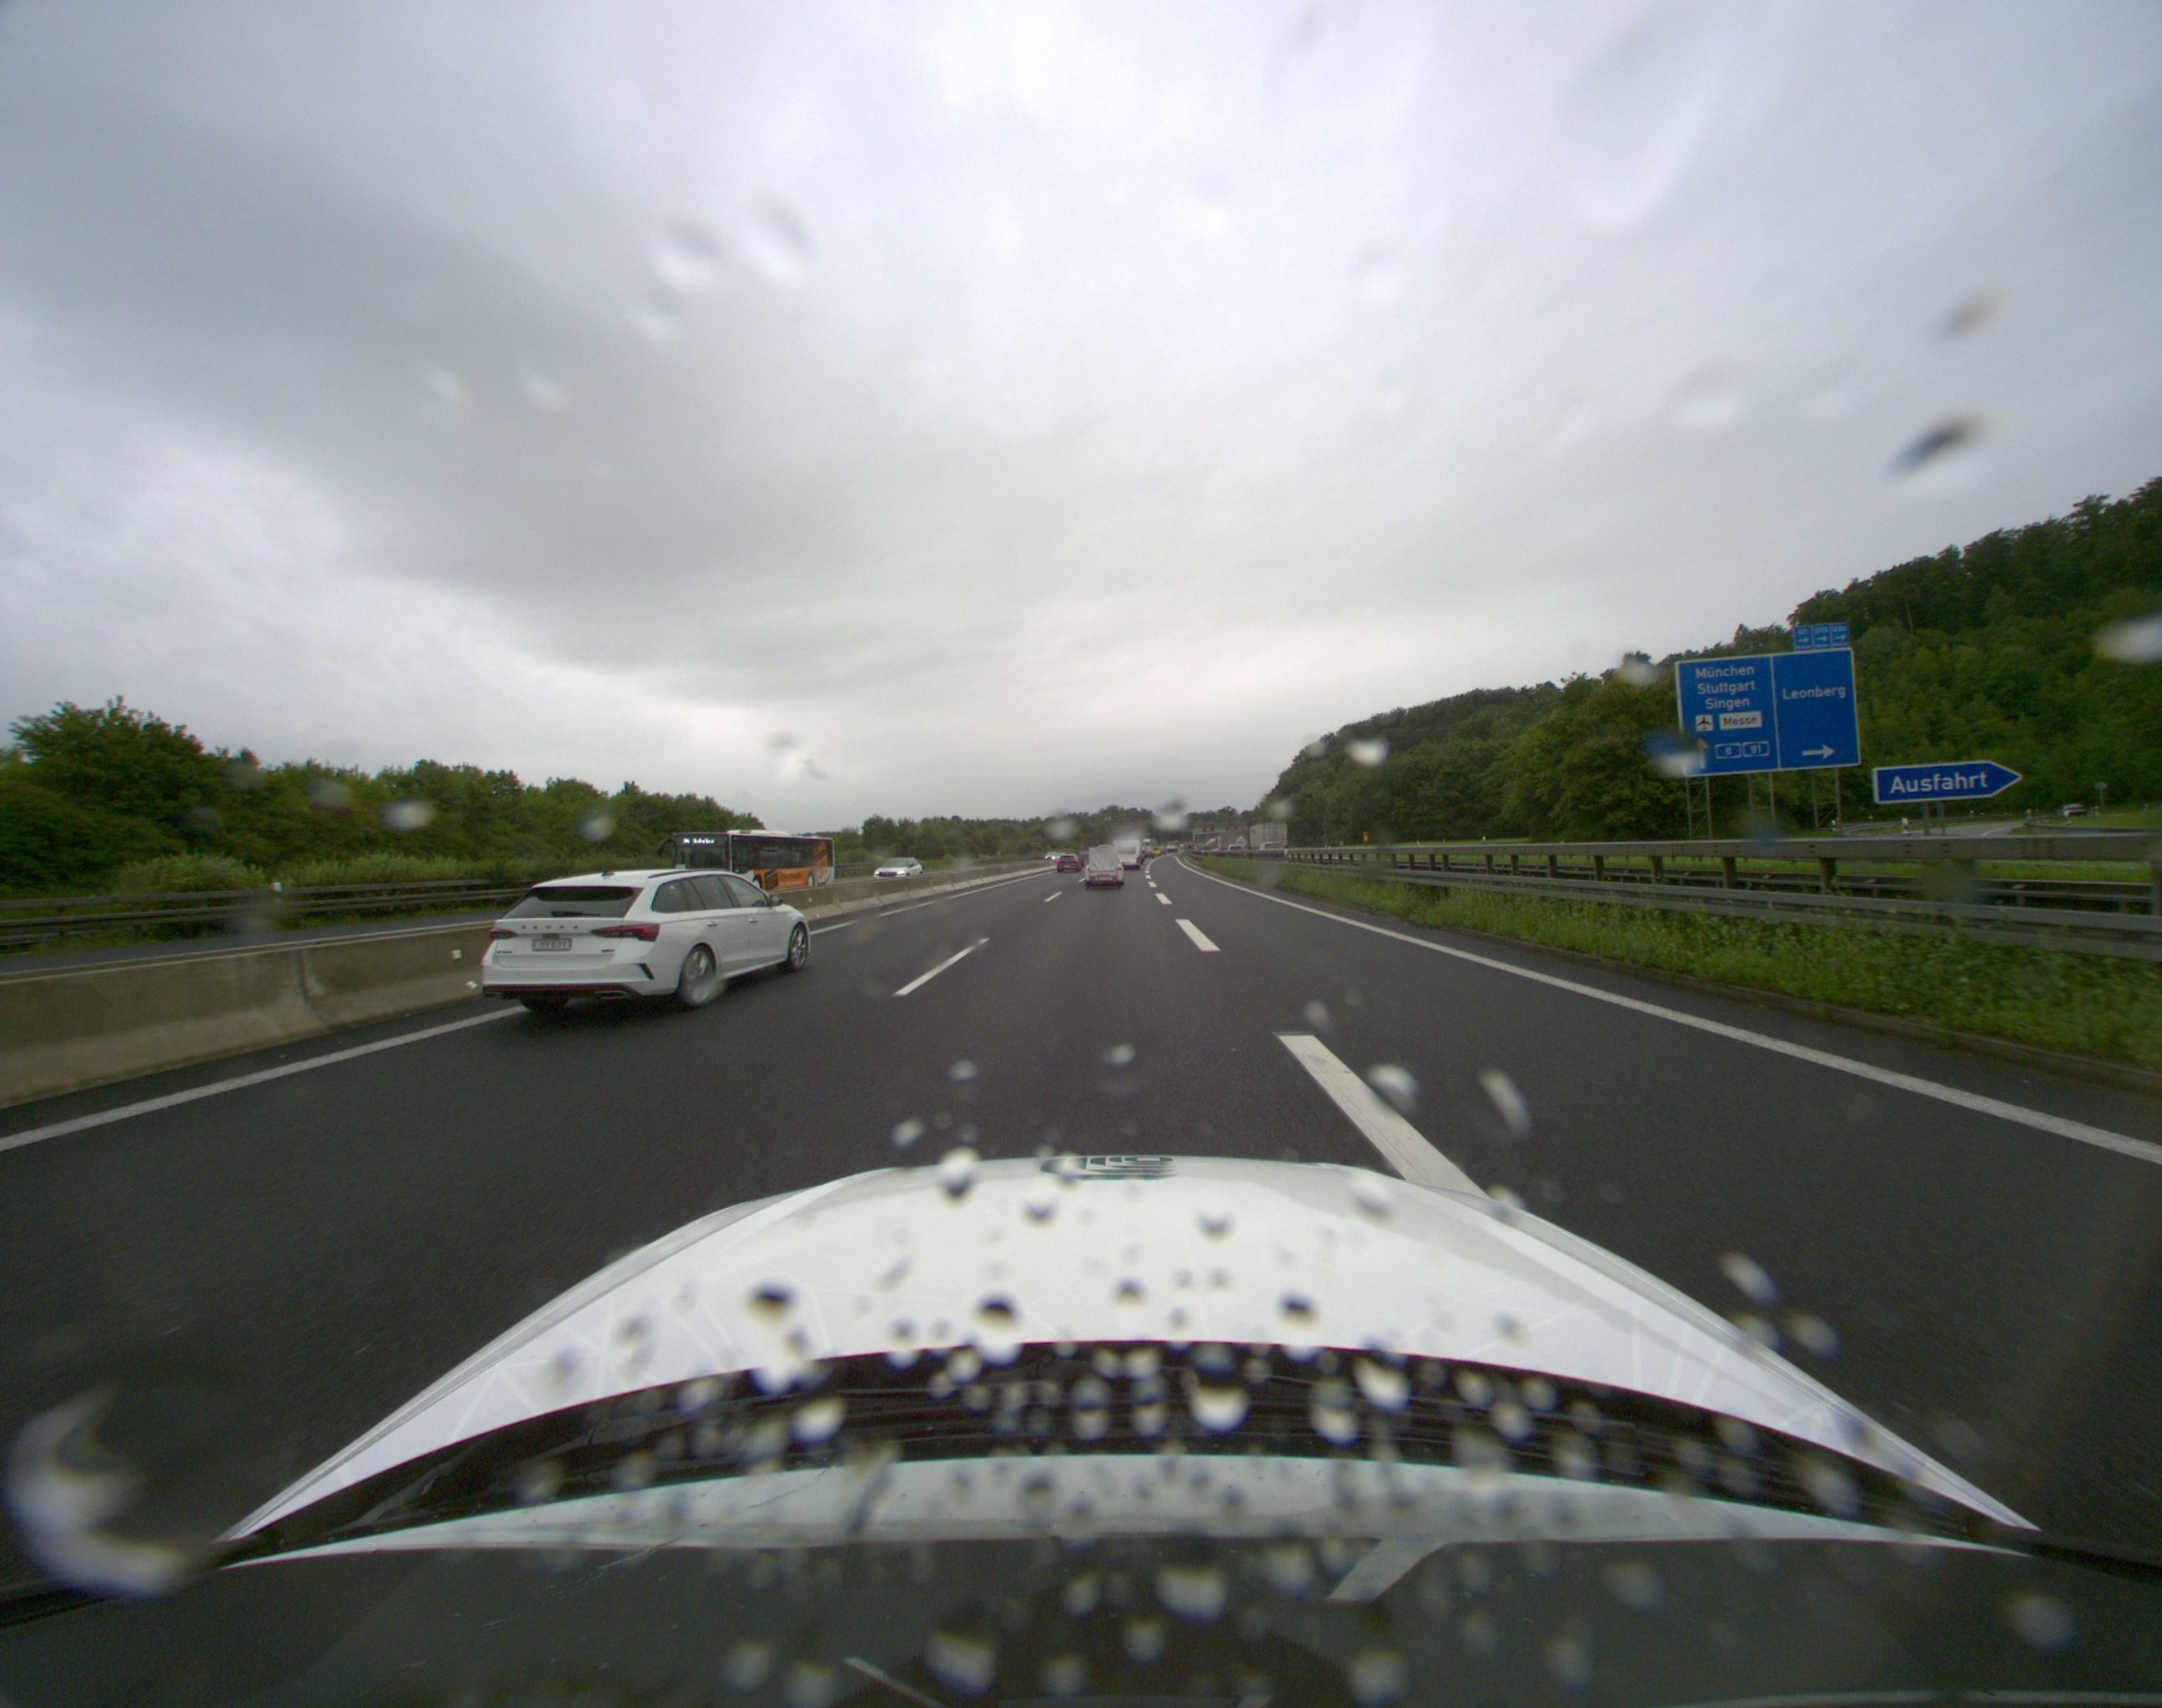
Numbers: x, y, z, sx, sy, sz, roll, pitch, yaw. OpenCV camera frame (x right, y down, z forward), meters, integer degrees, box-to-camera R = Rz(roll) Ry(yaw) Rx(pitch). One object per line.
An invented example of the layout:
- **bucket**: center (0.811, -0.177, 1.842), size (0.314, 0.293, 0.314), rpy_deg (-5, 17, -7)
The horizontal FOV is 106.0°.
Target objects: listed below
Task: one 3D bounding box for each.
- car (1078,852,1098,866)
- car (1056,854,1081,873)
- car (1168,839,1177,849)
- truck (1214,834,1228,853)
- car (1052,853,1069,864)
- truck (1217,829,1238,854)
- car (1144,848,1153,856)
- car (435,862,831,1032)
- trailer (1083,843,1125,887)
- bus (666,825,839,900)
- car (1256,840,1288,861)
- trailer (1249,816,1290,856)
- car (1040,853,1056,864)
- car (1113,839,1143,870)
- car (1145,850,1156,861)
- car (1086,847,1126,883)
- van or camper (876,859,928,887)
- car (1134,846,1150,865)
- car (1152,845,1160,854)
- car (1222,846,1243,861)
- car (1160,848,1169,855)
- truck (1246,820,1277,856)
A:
- **car**: center (0.727, 0.511, 85.337), size (1.757, 1.456, 4.005), rpy_deg (-2, 0, 5)
- **car**: center (-1.000, 0.767, 67.005), size (1.668, 1.456, 4.004), rpy_deg (-2, 0, 4)
- **car**: center (25.519, -2.724, 226.834), size (2.502, 2.574, 5.323), rpy_deg (-2, 0, 7)
- **truck**: center (36.315, -2.560, 210.655), size (3.195, 4.666, 13.073), rpy_deg (-2, 0, 11)
- **car**: center (-3.141, 0.707, 125.897), size (1.983, 1.711, 4.310), rpy_deg (-2, 0, 6)
- **truck**: center (29.568, -2.443, 164.558), size (3.199, 4.666, 13.056), rpy_deg (-2, 0, 6)
- **car**: center (17.813, -0.546, 215.843), size (1.982, 2.014, 4.009), rpy_deg (-2, 0, 8)
- **car**: center (-4.764, 0.862, 9.695), size (1.811, 1.456, 4.782), rpy_deg (-2, 0, 3)
- **trailer**: center (1.094, 0.486, 36.834), size (1.668, 1.812, 4.004), rpy_deg (-2, 0, 4)
- **bus**: center (-15.005, 0.369, 38.742), size (2.687, 2.958, 11.908), rpy_deg (-2, 0, 3)
- **car**: center (14.390, -0.262, 61.524), size (1.659, 1.382, 4.131), rpy_deg (-4, 0, 4)
- **trailer**: center (20.289, -1.804, 88.182), size (2.591, 3.894, 12.509), rpy_deg (-2, 0, 5)
- **car**: center (-5.601, 0.770, 137.307), size (1.881, 1.650, 4.612), rpy_deg (-2, 0, 7)
- **car**: center (4.235, 0.045, 72.478), size (2.496, 2.585, 5.706), rpy_deg (-2, 0, 4)
- **car**: center (12.101, 0.214, 142.297), size (1.669, 1.812, 4.003), rpy_deg (-2, 0, 3)
- **car**: center (1.309, 0.517, 40.277), size (1.811, 1.616, 4.782), rpy_deg (-2, 0, 3)
- **van or camper**: center (-10.113, 1.066, 46.307), size (1.741, 1.447, 4.588), rpy_deg (-2, 0, 2)
- **car**: center (6.972, 0.164, 93.551), size (1.669, 2.067, 4.003), rpy_deg (-2, 0, 3)
- **car**: center (15.901, -1.013, 172.711), size (1.667, 1.812, 4.007), rpy_deg (-2, 0, 6)
- **car**: center (16.832, -0.048, 90.470), size (1.761, 1.610, 4.649), rpy_deg (-2, 0, 5)
- **car**: center (19.762, -0.526, 192.982), size (2.026, 1.683, 4.010), rpy_deg (-2, 0, 9)
- **truck**: center (20.877, -1.773, 94.388), size (2.603, 3.884, 6.401), rpy_deg (-2, 0, 5)
